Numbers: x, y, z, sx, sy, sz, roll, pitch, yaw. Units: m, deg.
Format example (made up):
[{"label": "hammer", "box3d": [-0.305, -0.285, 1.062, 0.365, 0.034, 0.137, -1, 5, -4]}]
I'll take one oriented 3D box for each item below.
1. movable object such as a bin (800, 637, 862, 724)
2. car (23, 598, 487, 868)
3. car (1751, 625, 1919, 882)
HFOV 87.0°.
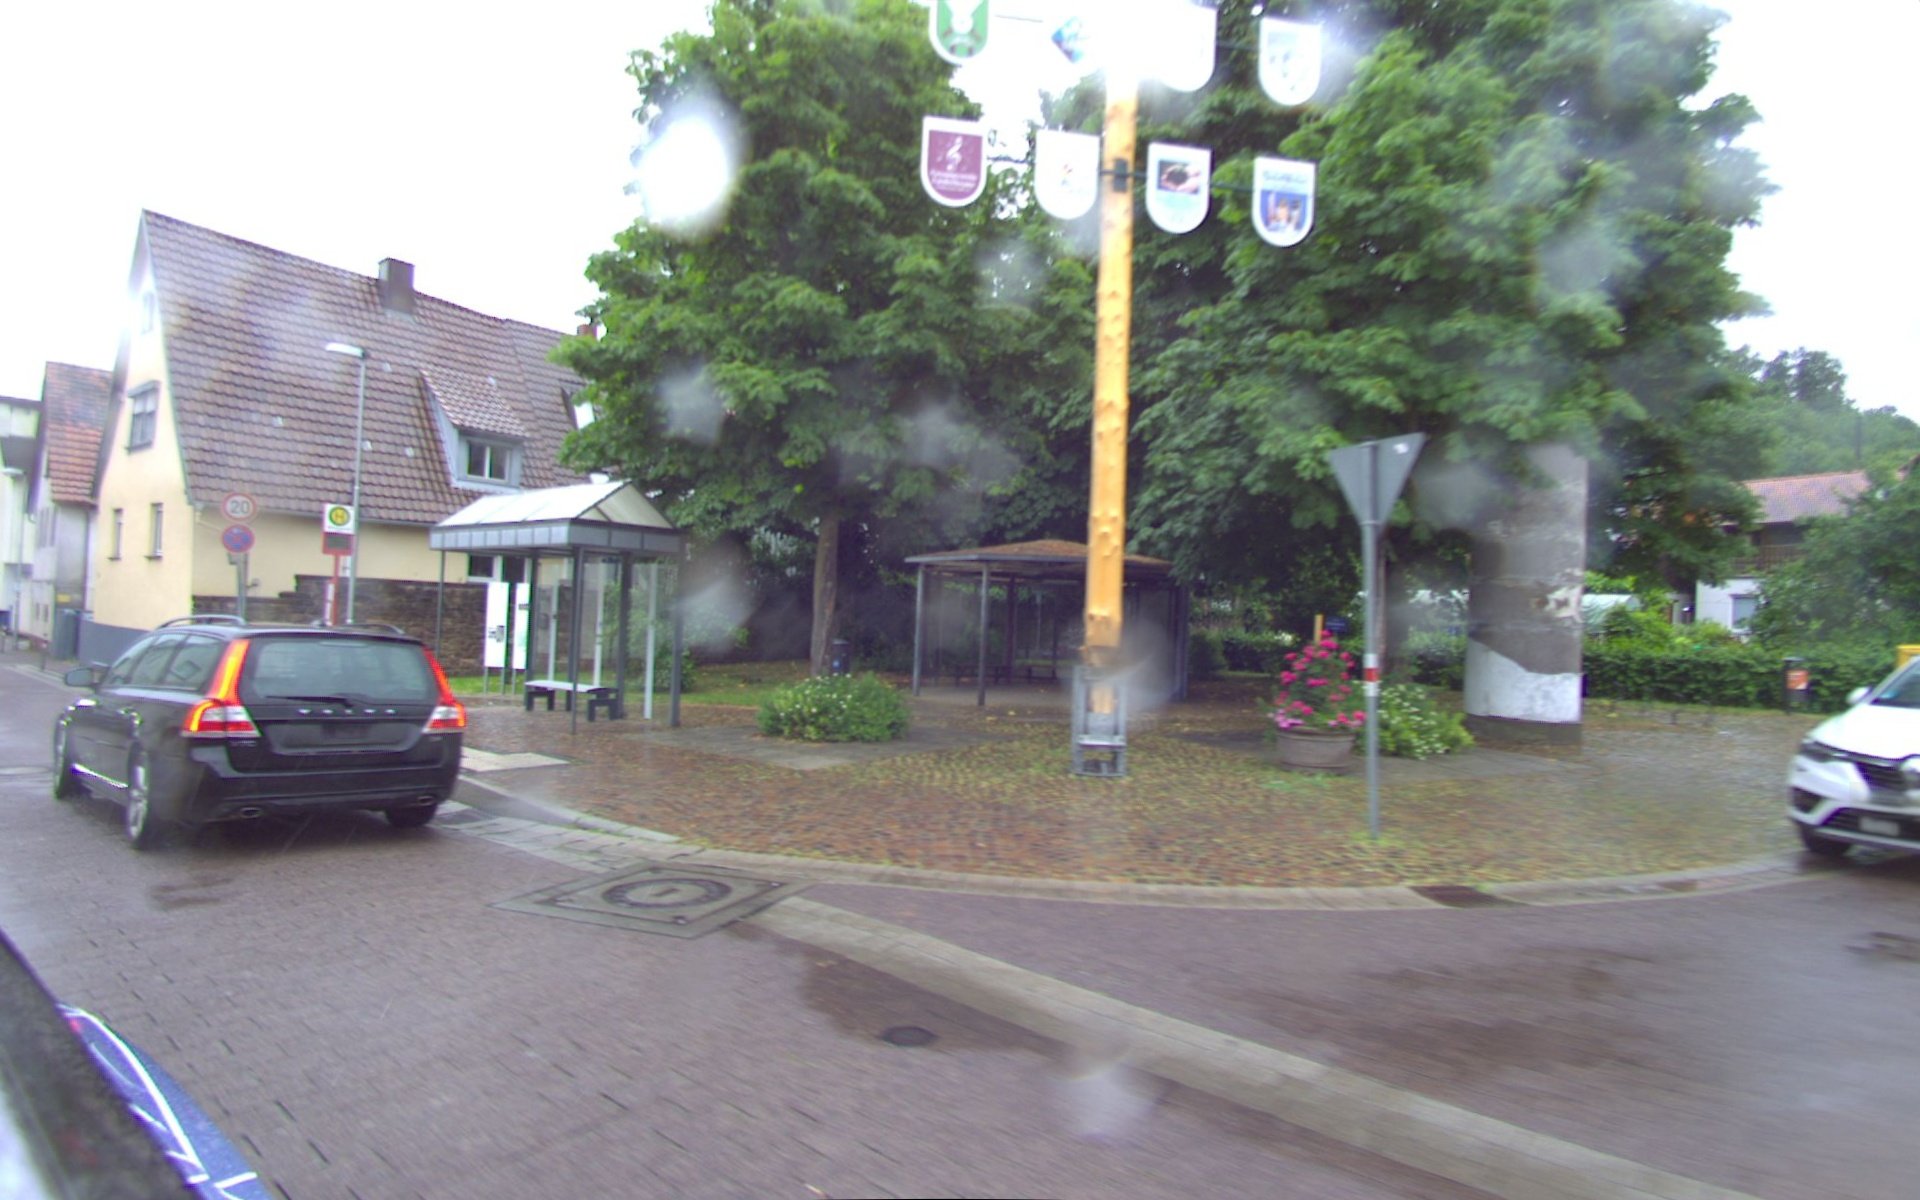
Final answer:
[{"label": "movable object such as a bin", "box3d": [-1.815, 1.117, 14.242, 0.604, 1.155, 0.556, 2, -1, 39]}, {"label": "car", "box3d": [-5.526, 0.803, 7.714, 4.311, 1.488, 1.825, -1, -4, 41]}, {"label": "car", "box3d": [7.848, 1.001, 7.171, 4.383, 1.561, 1.888, 2, -2, -28]}]
